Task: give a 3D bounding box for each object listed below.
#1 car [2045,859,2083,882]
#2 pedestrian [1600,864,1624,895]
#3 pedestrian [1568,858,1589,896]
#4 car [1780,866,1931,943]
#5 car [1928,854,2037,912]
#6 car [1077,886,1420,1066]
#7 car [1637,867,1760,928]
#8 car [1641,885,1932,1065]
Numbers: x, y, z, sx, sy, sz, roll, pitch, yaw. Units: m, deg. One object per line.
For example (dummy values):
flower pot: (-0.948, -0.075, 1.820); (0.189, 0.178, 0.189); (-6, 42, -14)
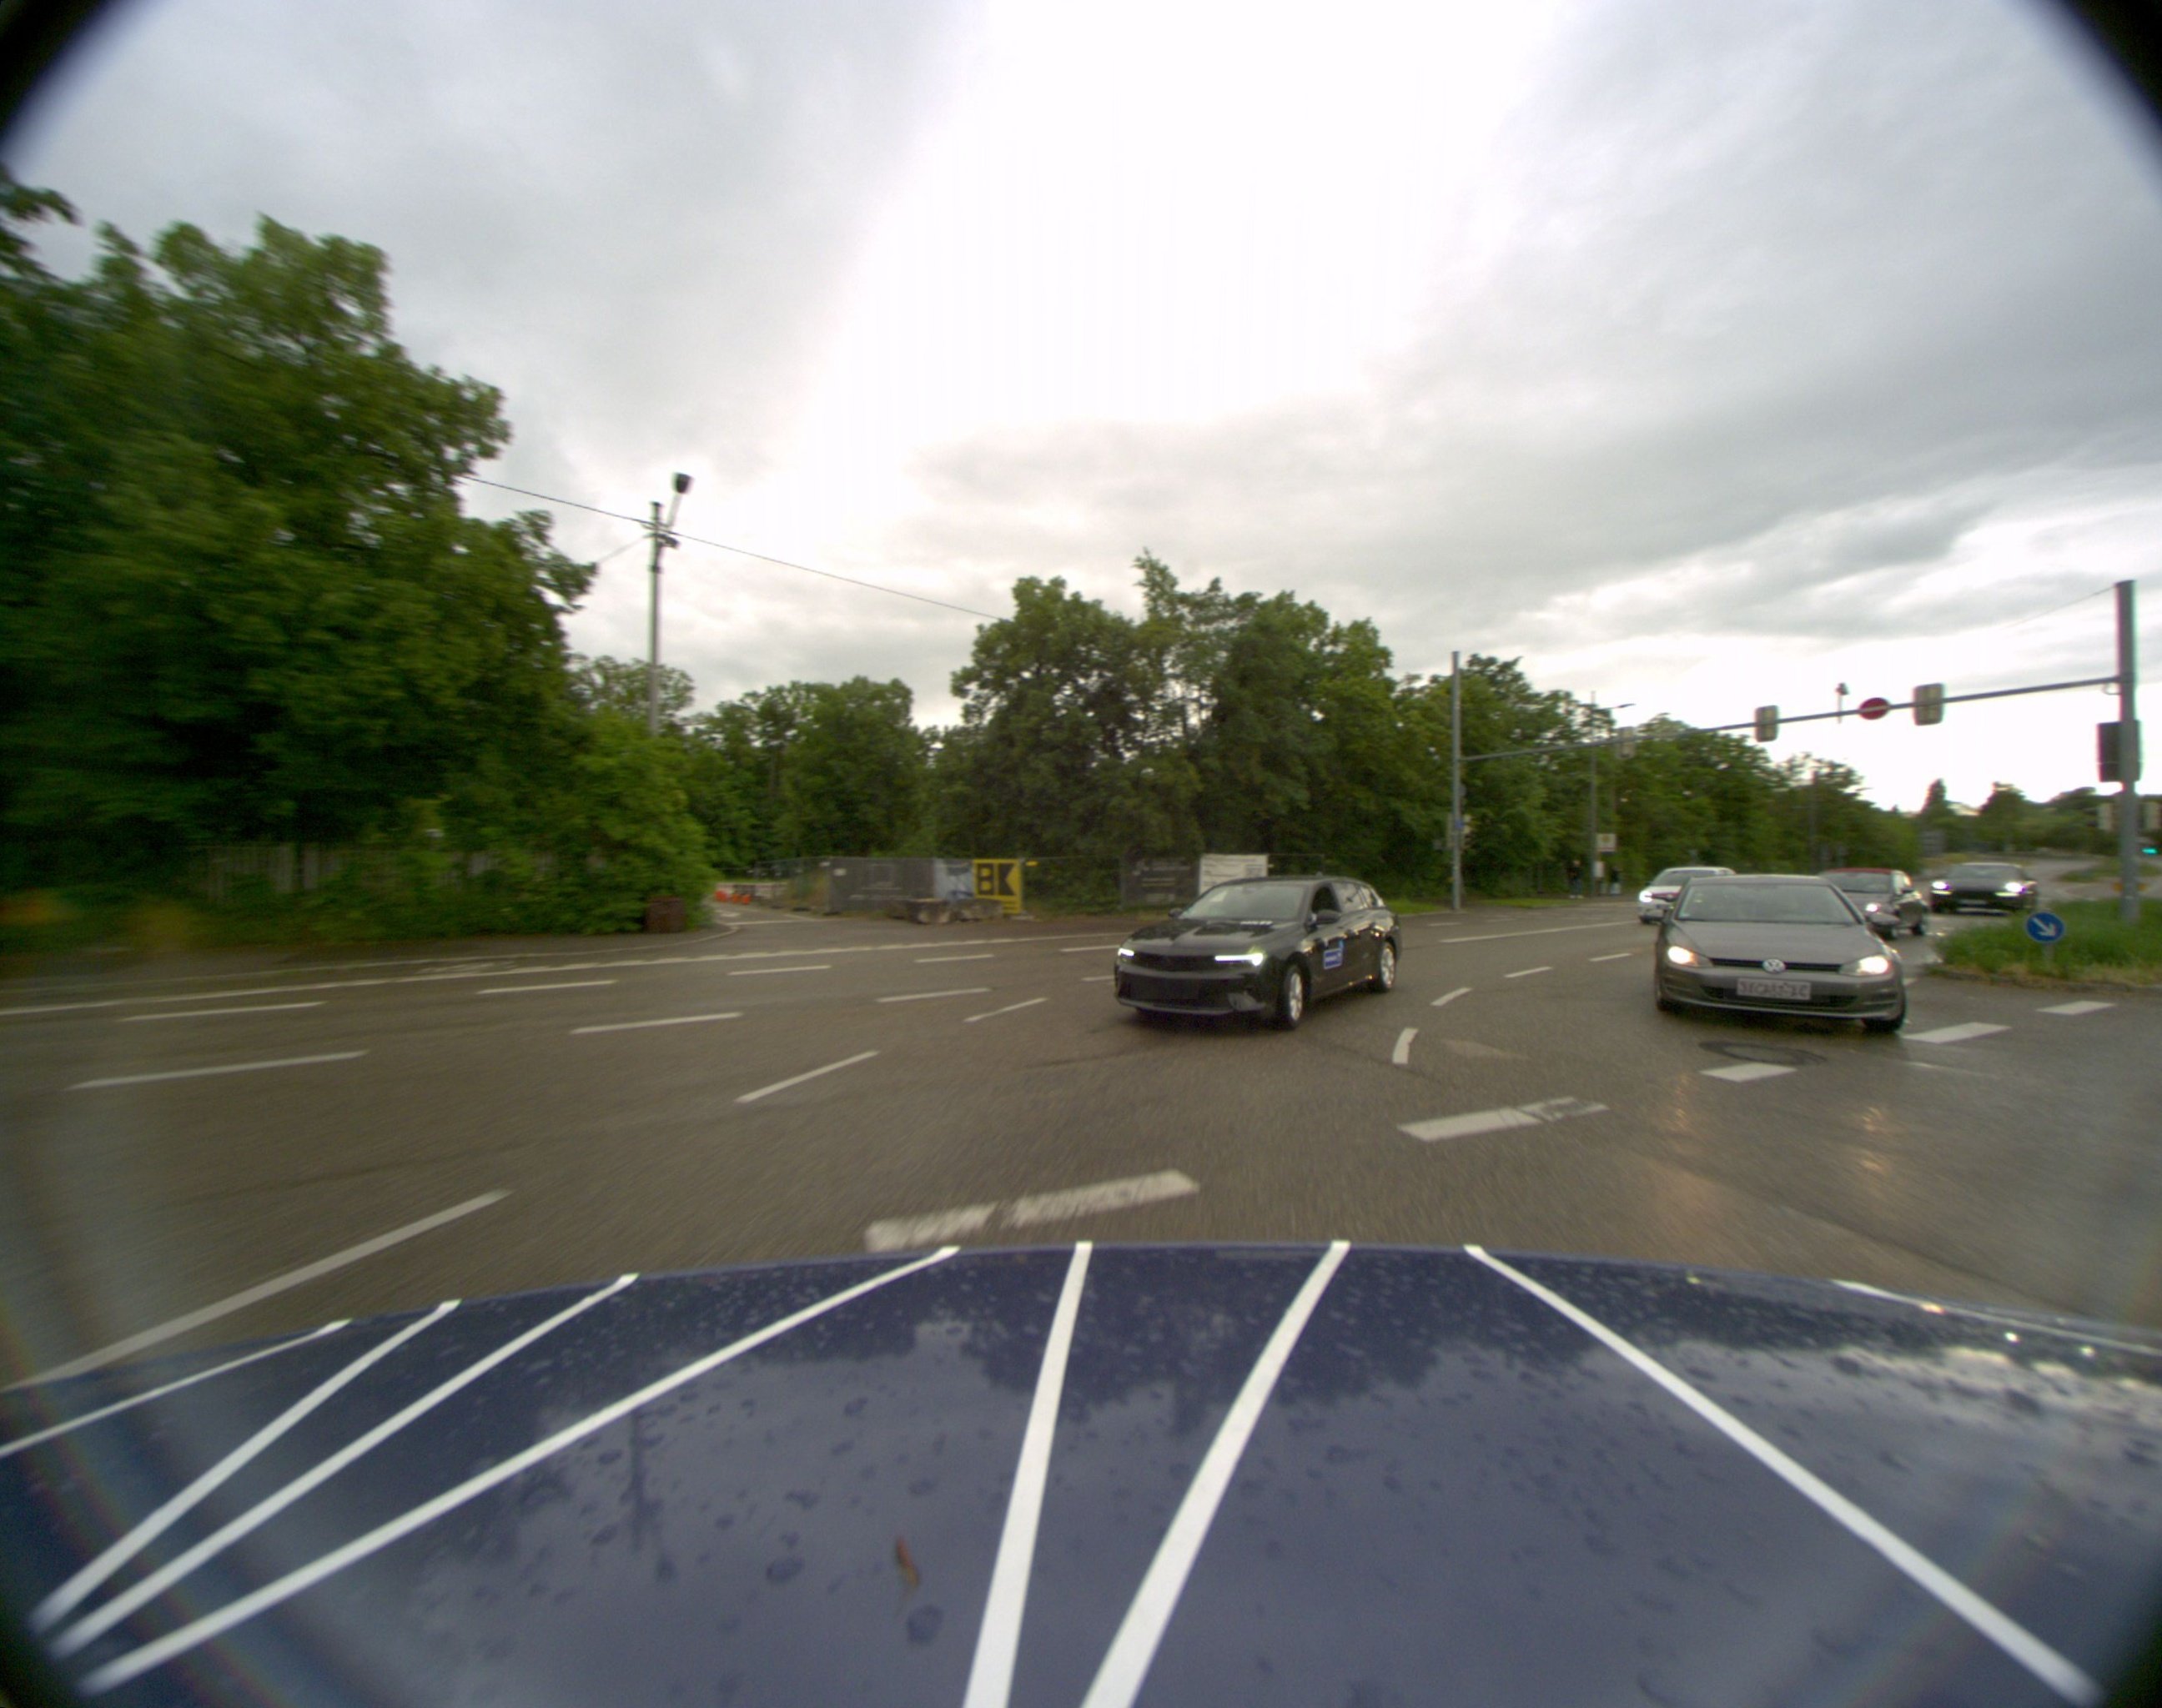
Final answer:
car: (89.735, 1.506, 69.342); (4.008, 2.001, 1.995); (0, -2, -36)
pedestrian: (29.281, 1.389, 41.923); (0.833, 1.666, 0.820); (0, -1, -33)
pedestrian: (25.100, 1.141, 38.343); (0.701, 1.872, 0.676); (0, -1, -33)
car: (17.487, 1.058, 17.130); (3.664, 1.520, 1.667); (0, -1, -33)
car: (29.869, 0.915, 25.147); (4.007, 1.761, 1.902); (0, -1, -34)
car: (2.141, 1.120, 8.613); (1.800, 1.422, 4.530); (-3, -3, 41)
car: (16.976, 1.126, 20.843); (3.586, 1.511, 1.642); (0, -1, -34)
car: (7.483, 1.085, 8.430); (1.901, 1.430, 4.009); (-1, -2, 38)
